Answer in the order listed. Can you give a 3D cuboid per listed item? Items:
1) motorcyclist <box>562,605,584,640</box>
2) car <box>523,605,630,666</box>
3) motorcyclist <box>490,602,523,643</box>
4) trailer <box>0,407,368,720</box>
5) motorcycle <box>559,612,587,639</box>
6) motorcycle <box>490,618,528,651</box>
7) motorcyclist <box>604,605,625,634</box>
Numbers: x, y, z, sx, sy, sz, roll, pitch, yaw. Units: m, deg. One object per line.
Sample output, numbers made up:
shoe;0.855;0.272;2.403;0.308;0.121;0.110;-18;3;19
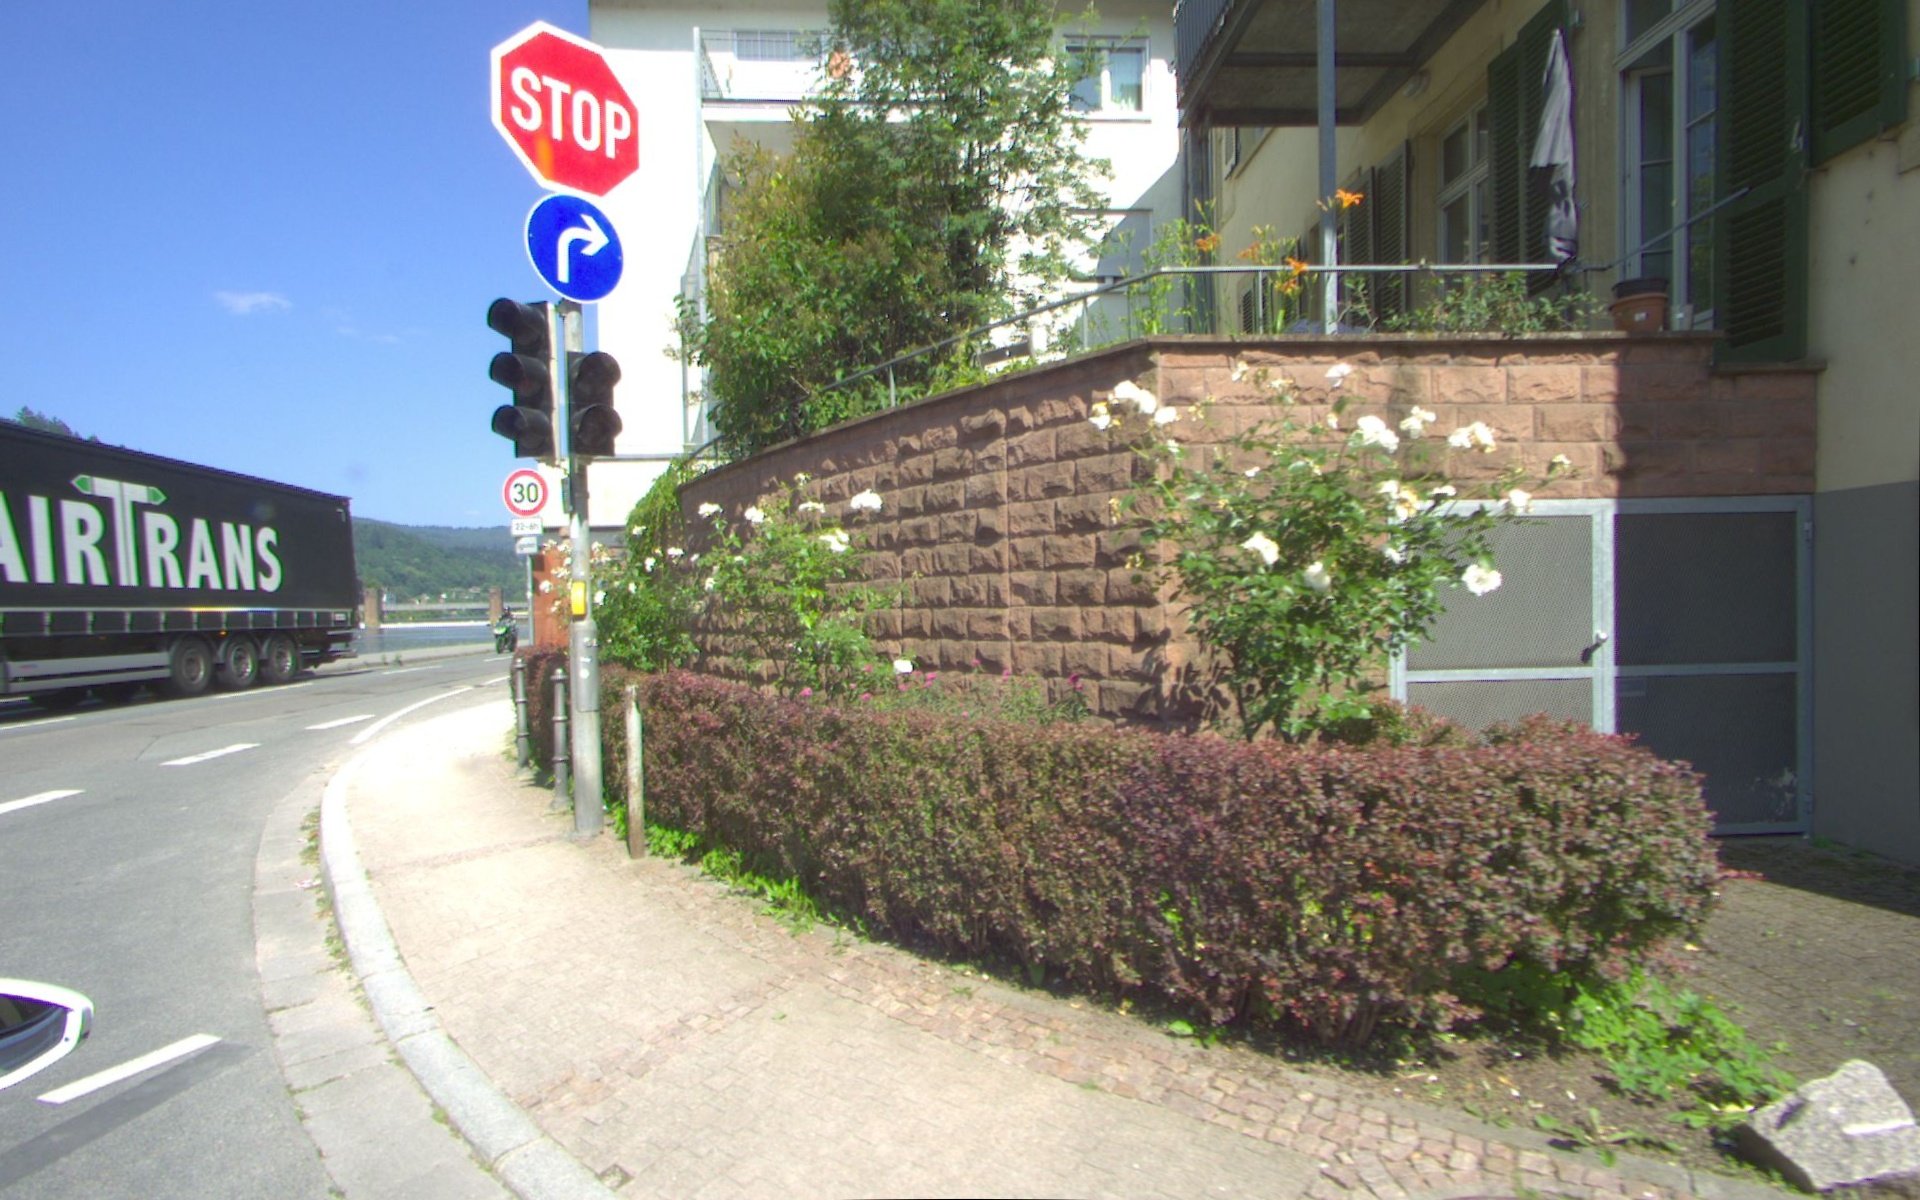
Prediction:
motorcyclist;-17.562;1.025;45.437;0.653;1.545;0.991;-3;1;-7
car;-9.561;0.851;25.262;1.661;1.417;3.738;1;0;-7
motorcyclist;-16.716;0.825;36.959;0.766;1.479;0.991;-3;1;-6
trailer;-14.392;-0.422;16.005;2.788;4.158;13.766;-3;0;-6
motorcycle;-17.557;1.129;45.450;0.623;1.138;2.092;-3;0;-7
motorcycle;-16.706;1.252;37.156;0.623;1.138;2.092;-3;0;-7
motorcyclist;-16.939;0.968;49.126;0.774;1.384;0.800;-1;0;-6
